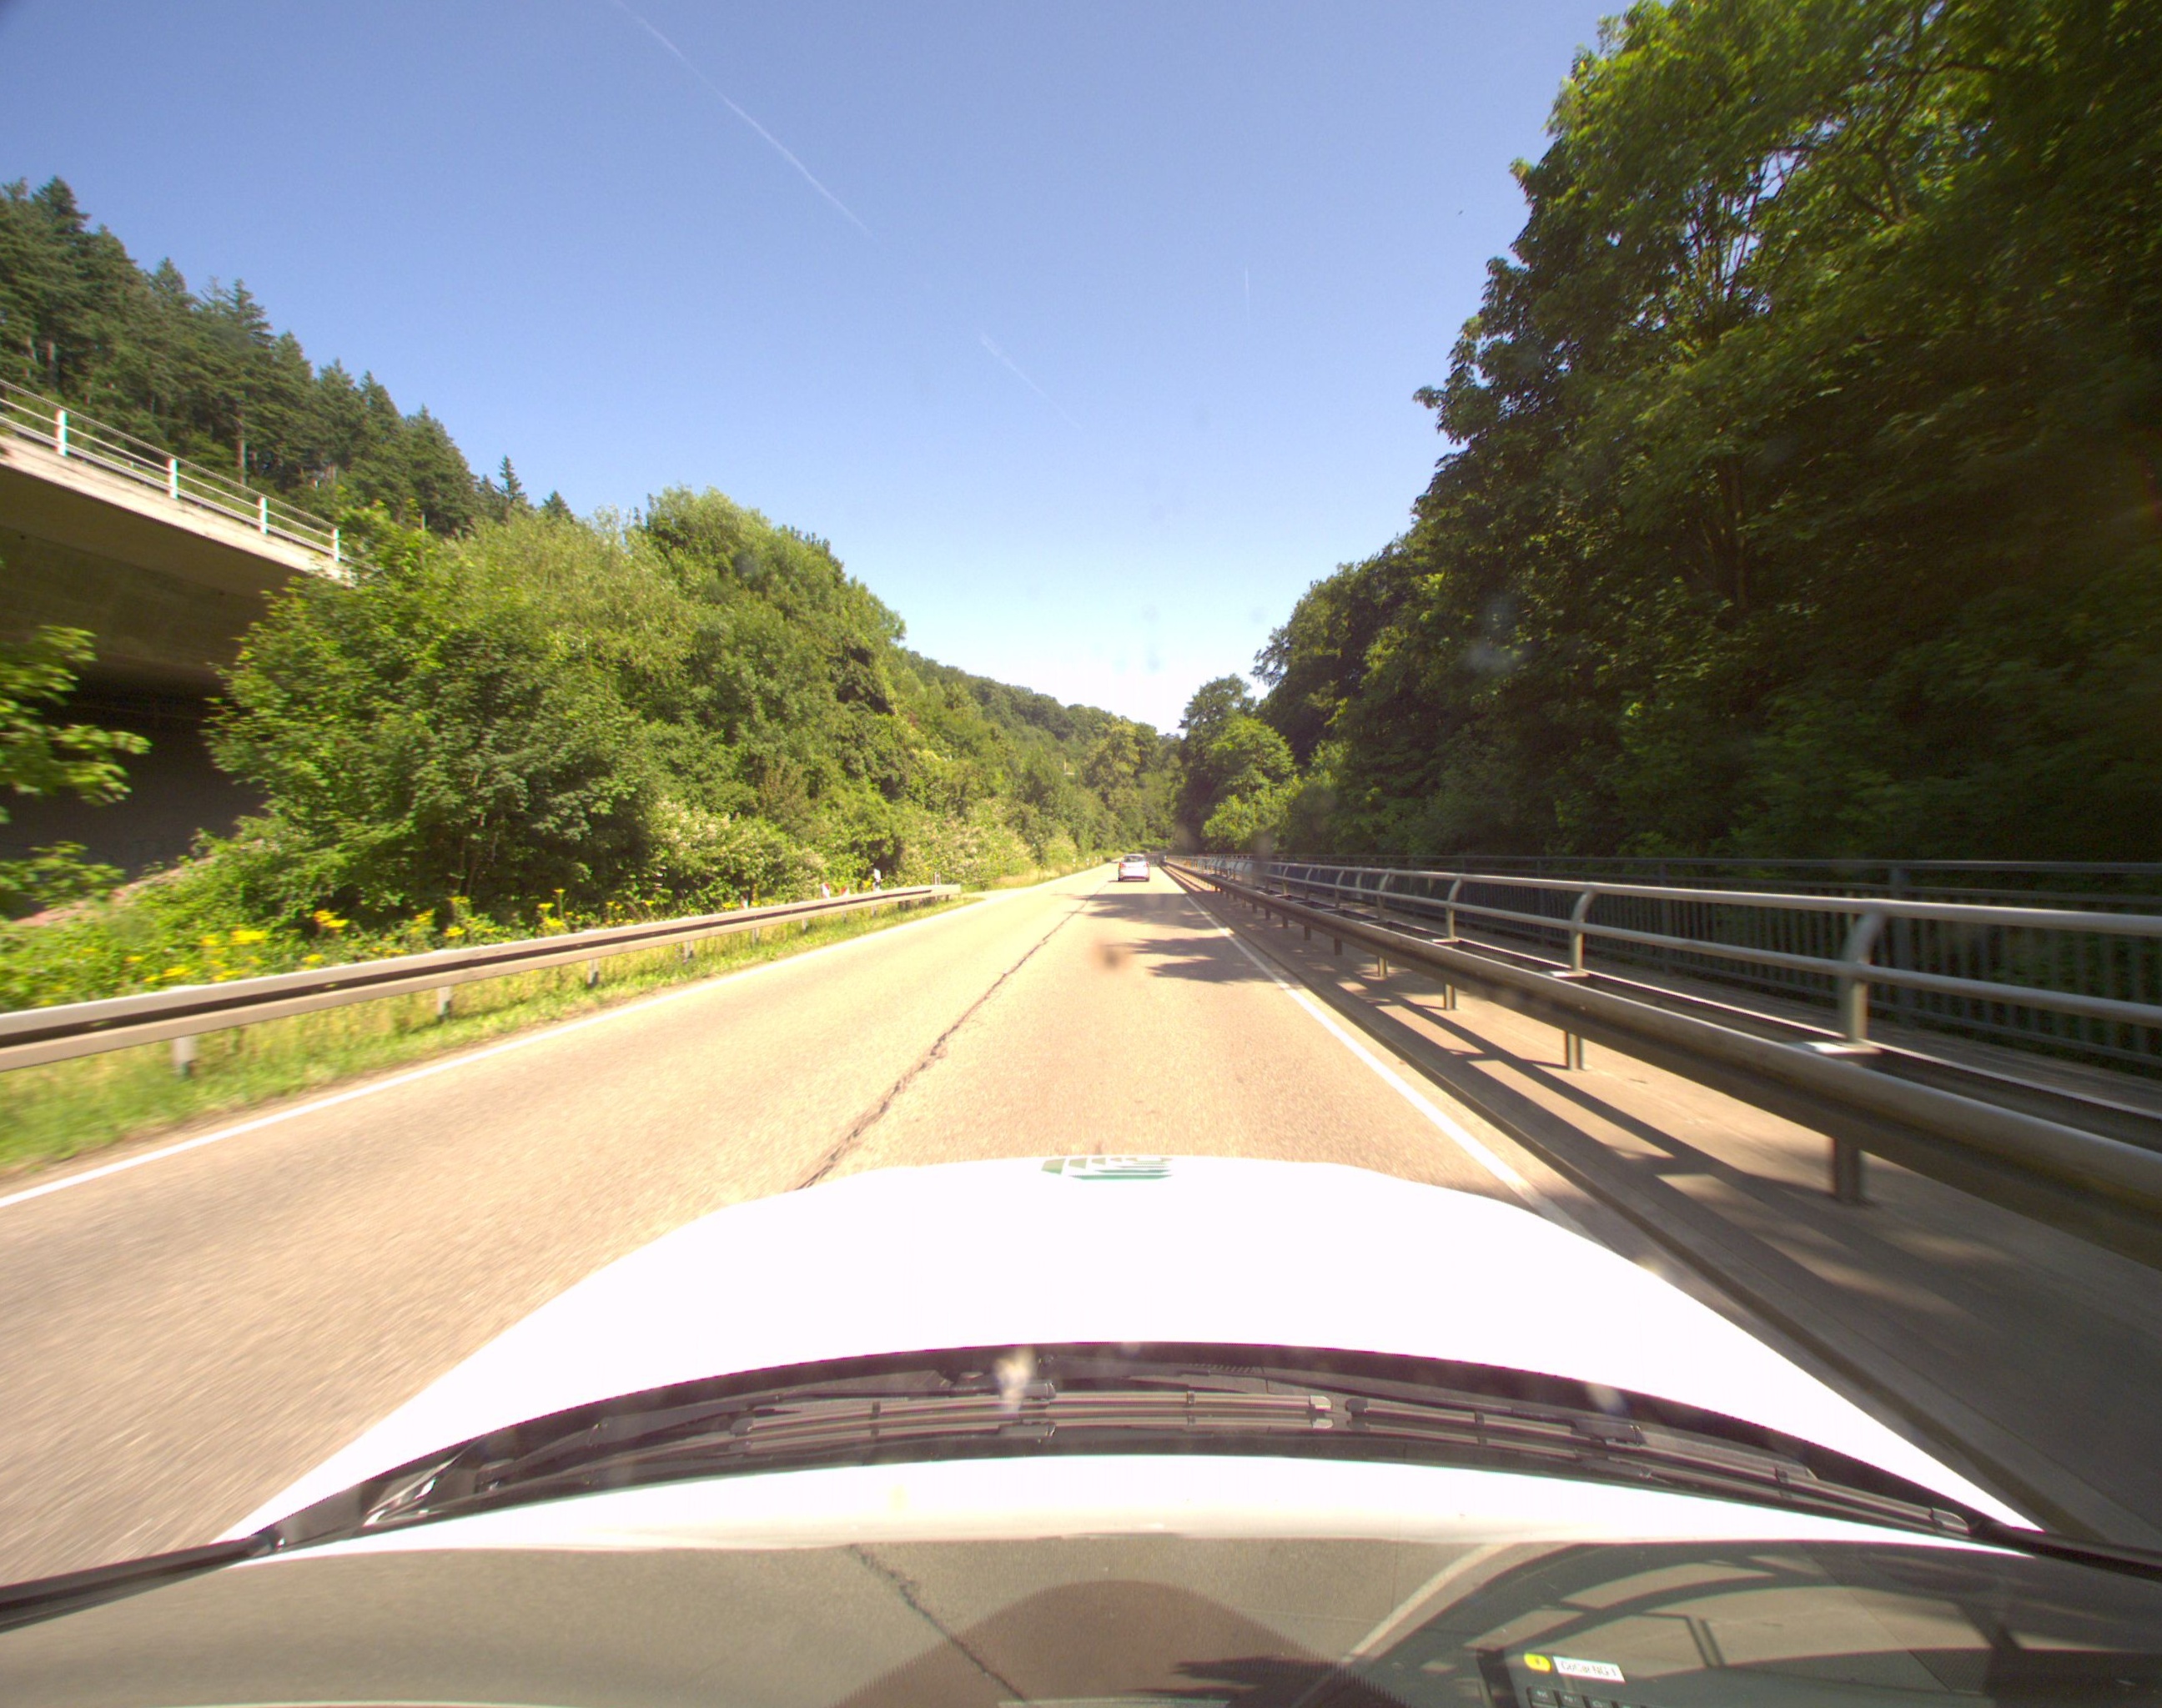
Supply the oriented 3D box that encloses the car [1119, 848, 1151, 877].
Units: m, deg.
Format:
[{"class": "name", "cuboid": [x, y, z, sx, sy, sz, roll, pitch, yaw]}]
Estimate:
[{"class": "car", "cuboid": [3.103, 0.494, 46.315, 1.743, 1.520, 4.164, -1, -1, 5]}]
